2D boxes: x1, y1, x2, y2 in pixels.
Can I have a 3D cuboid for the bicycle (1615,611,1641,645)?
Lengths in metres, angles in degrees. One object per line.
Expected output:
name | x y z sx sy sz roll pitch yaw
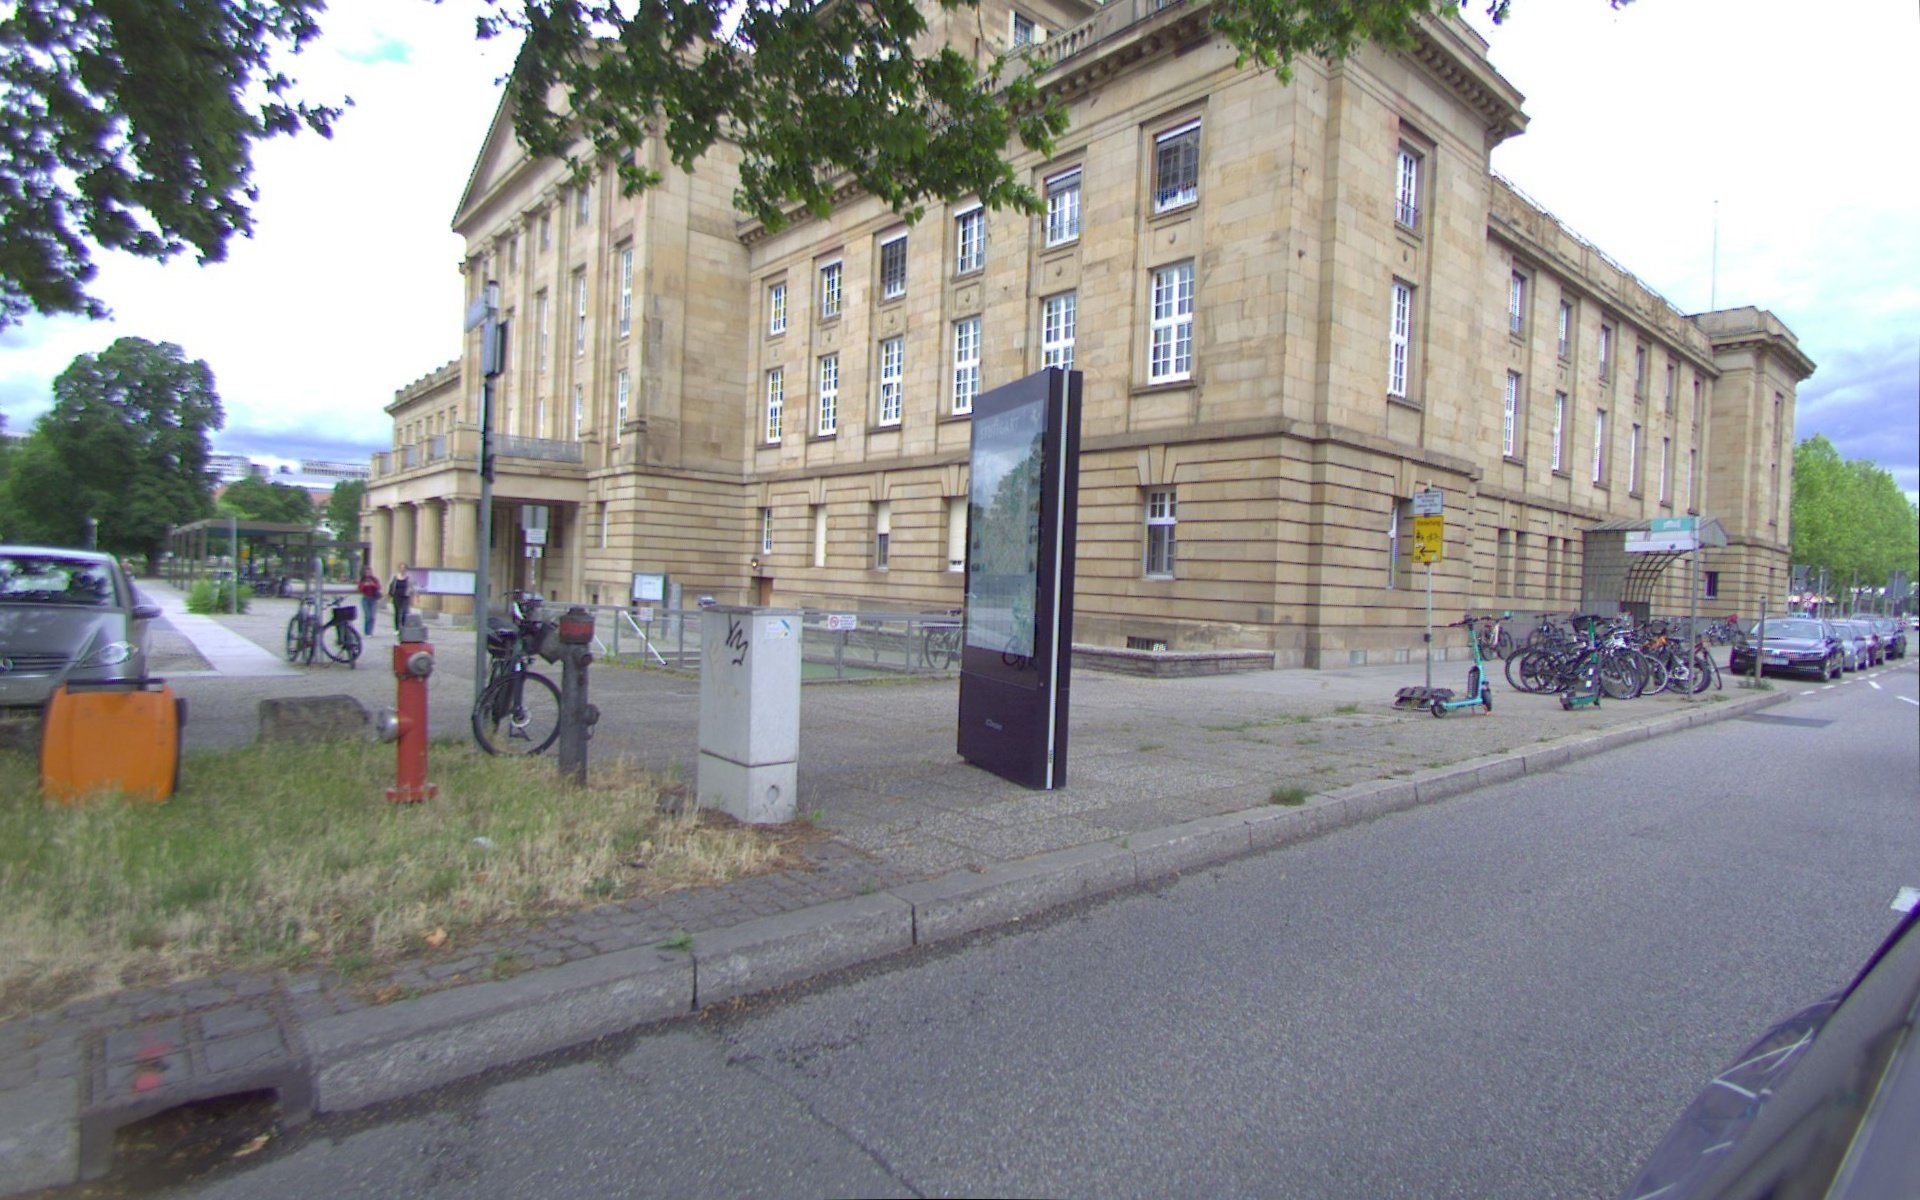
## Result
bicycle | 21.022 0.863 31.853 1.827 1.042 0.222 1 0 -42

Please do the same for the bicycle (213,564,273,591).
bicycle | -37.992 -1.195 53.669 2.533 1.362 0.726 0 -1 -41

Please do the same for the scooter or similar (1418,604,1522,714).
scooter or similar | 6.307 0.704 12.500 1.405 1.297 0.433 1 0 -30

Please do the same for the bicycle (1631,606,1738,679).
bicycle | 13.321 0.758 18.646 0.532 1.273 1.550 1 0 -22

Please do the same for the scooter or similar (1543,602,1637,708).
scooter or similar | 8.548 0.704 13.722 1.389 1.348 0.726 1 0 -42

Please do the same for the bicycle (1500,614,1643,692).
bicycle | 9.639 0.805 16.024 0.652 1.105 1.866 1 0 -28

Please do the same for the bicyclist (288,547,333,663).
bicyclist | -10.176 0.070 15.860 0.436 1.770 0.468 2 1 42

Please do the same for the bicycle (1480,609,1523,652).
bicycle | 13.283 0.734 24.804 1.929 1.010 0.240 0 1 -42

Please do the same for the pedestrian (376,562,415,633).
pedestrian | -14.044 -0.063 25.177 0.692 1.744 0.680 1 1 -42

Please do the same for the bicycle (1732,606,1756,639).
bicycle | 31.679 0.915 40.890 1.759 1.304 0.413 1 1 -42

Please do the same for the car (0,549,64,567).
car | -97.189 -4.383 106.029 4.822 1.761 2.077 0 0 -38

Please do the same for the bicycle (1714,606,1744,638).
bicycle | 30.341 0.853 39.916 1.882 1.232 0.556 1 1 -42

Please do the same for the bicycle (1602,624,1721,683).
bicycle | 12.854 0.960 18.611 0.601 0.928 1.737 1 1 -22

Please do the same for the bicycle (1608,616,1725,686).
bicycle | 12.310 0.873 17.671 1.597 1.144 0.466 1 0 24

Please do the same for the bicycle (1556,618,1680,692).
bicycle | 10.699 0.863 16.517 0.373 1.105 1.736 1 0 -28

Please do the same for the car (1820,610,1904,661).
car | 29.832 1.120 33.438 3.792 1.473 1.619 1 3 -42

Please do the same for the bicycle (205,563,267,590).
bicycle | -37.650 -1.195 52.654 2.533 1.362 0.726 0 -1 -41

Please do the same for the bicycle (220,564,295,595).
bicycle | -34.075 -0.988 49.110 2.852 1.444 0.959 0 0 -45

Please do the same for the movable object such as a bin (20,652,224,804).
movable object such as a bin | -4.654 0.668 5.712 0.714 0.660 1.304 0 0 -32

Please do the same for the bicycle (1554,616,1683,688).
bicycle | 10.958 0.834 16.897 0.563 1.105 1.735 1 0 -32

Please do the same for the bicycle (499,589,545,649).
bicycle | -8.718 0.349 20.117 0.418 1.114 2.173 1 0 -34

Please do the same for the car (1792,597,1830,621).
car | 56.608 0.588 67.310 3.445 1.549 1.581 0 1 -44

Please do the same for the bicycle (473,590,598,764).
bicycle | -3.500 0.556 8.258 0.483 1.236 1.790 1 1 -37

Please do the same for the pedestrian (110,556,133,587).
pedestrian | -50.394 -1.696 60.833 0.539 1.828 0.939 0 -1 22

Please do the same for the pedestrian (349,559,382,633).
pedestrian | -14.070 -0.096 23.937 0.559 1.716 0.431 1 1 -42

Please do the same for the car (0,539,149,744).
car | -8.613 0.265 9.341 1.649 1.588 3.844 1 1 -40

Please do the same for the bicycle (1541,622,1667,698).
bicycle | 10.342 0.940 16.325 0.417 1.105 1.736 1 0 -28

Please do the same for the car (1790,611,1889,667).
car | 25.956 1.102 29.824 3.928 1.443 1.711 1 3 -42

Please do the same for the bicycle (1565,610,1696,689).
bicycle | 11.335 0.809 17.148 0.594 1.224 1.759 1 0 -43

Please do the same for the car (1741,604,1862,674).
car | 20.791 0.901 24.948 4.253 1.504 1.790 1 1 -44

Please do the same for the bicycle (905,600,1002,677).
bicycle | -0.137 0.610 16.884 0.382 1.139 2.015 1 1 -41

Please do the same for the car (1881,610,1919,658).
car | 33.855 1.185 35.669 3.642 1.571 1.549 1 2 -40

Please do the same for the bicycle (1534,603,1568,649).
bicycle | 15.903 0.691 27.217 1.510 1.198 0.276 1 0 -39

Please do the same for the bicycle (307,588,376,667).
bicycle | -9.834 0.406 16.056 1.748 1.146 0.437 3 1 42

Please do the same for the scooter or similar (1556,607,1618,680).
scooter or similar | 11.516 0.787 18.586 1.126 1.295 0.564 1 -1 -35

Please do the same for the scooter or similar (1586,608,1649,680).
scooter or similar | 11.834 0.773 18.203 1.286 1.239 0.427 0 0 -31

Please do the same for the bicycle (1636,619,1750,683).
bicycle | 13.619 0.921 18.855 0.573 1.088 1.671 1 0 -21

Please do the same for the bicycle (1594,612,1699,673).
bicycle | 12.600 0.768 18.624 0.427 1.041 1.570 1 0 -29

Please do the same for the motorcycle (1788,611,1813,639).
motorcycle | 39.233 1.171 47.221 1.887 1.257 0.456 1 2 -38

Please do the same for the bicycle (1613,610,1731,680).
bicycle | 12.241 0.760 17.443 1.597 1.144 0.405 1 0 24
